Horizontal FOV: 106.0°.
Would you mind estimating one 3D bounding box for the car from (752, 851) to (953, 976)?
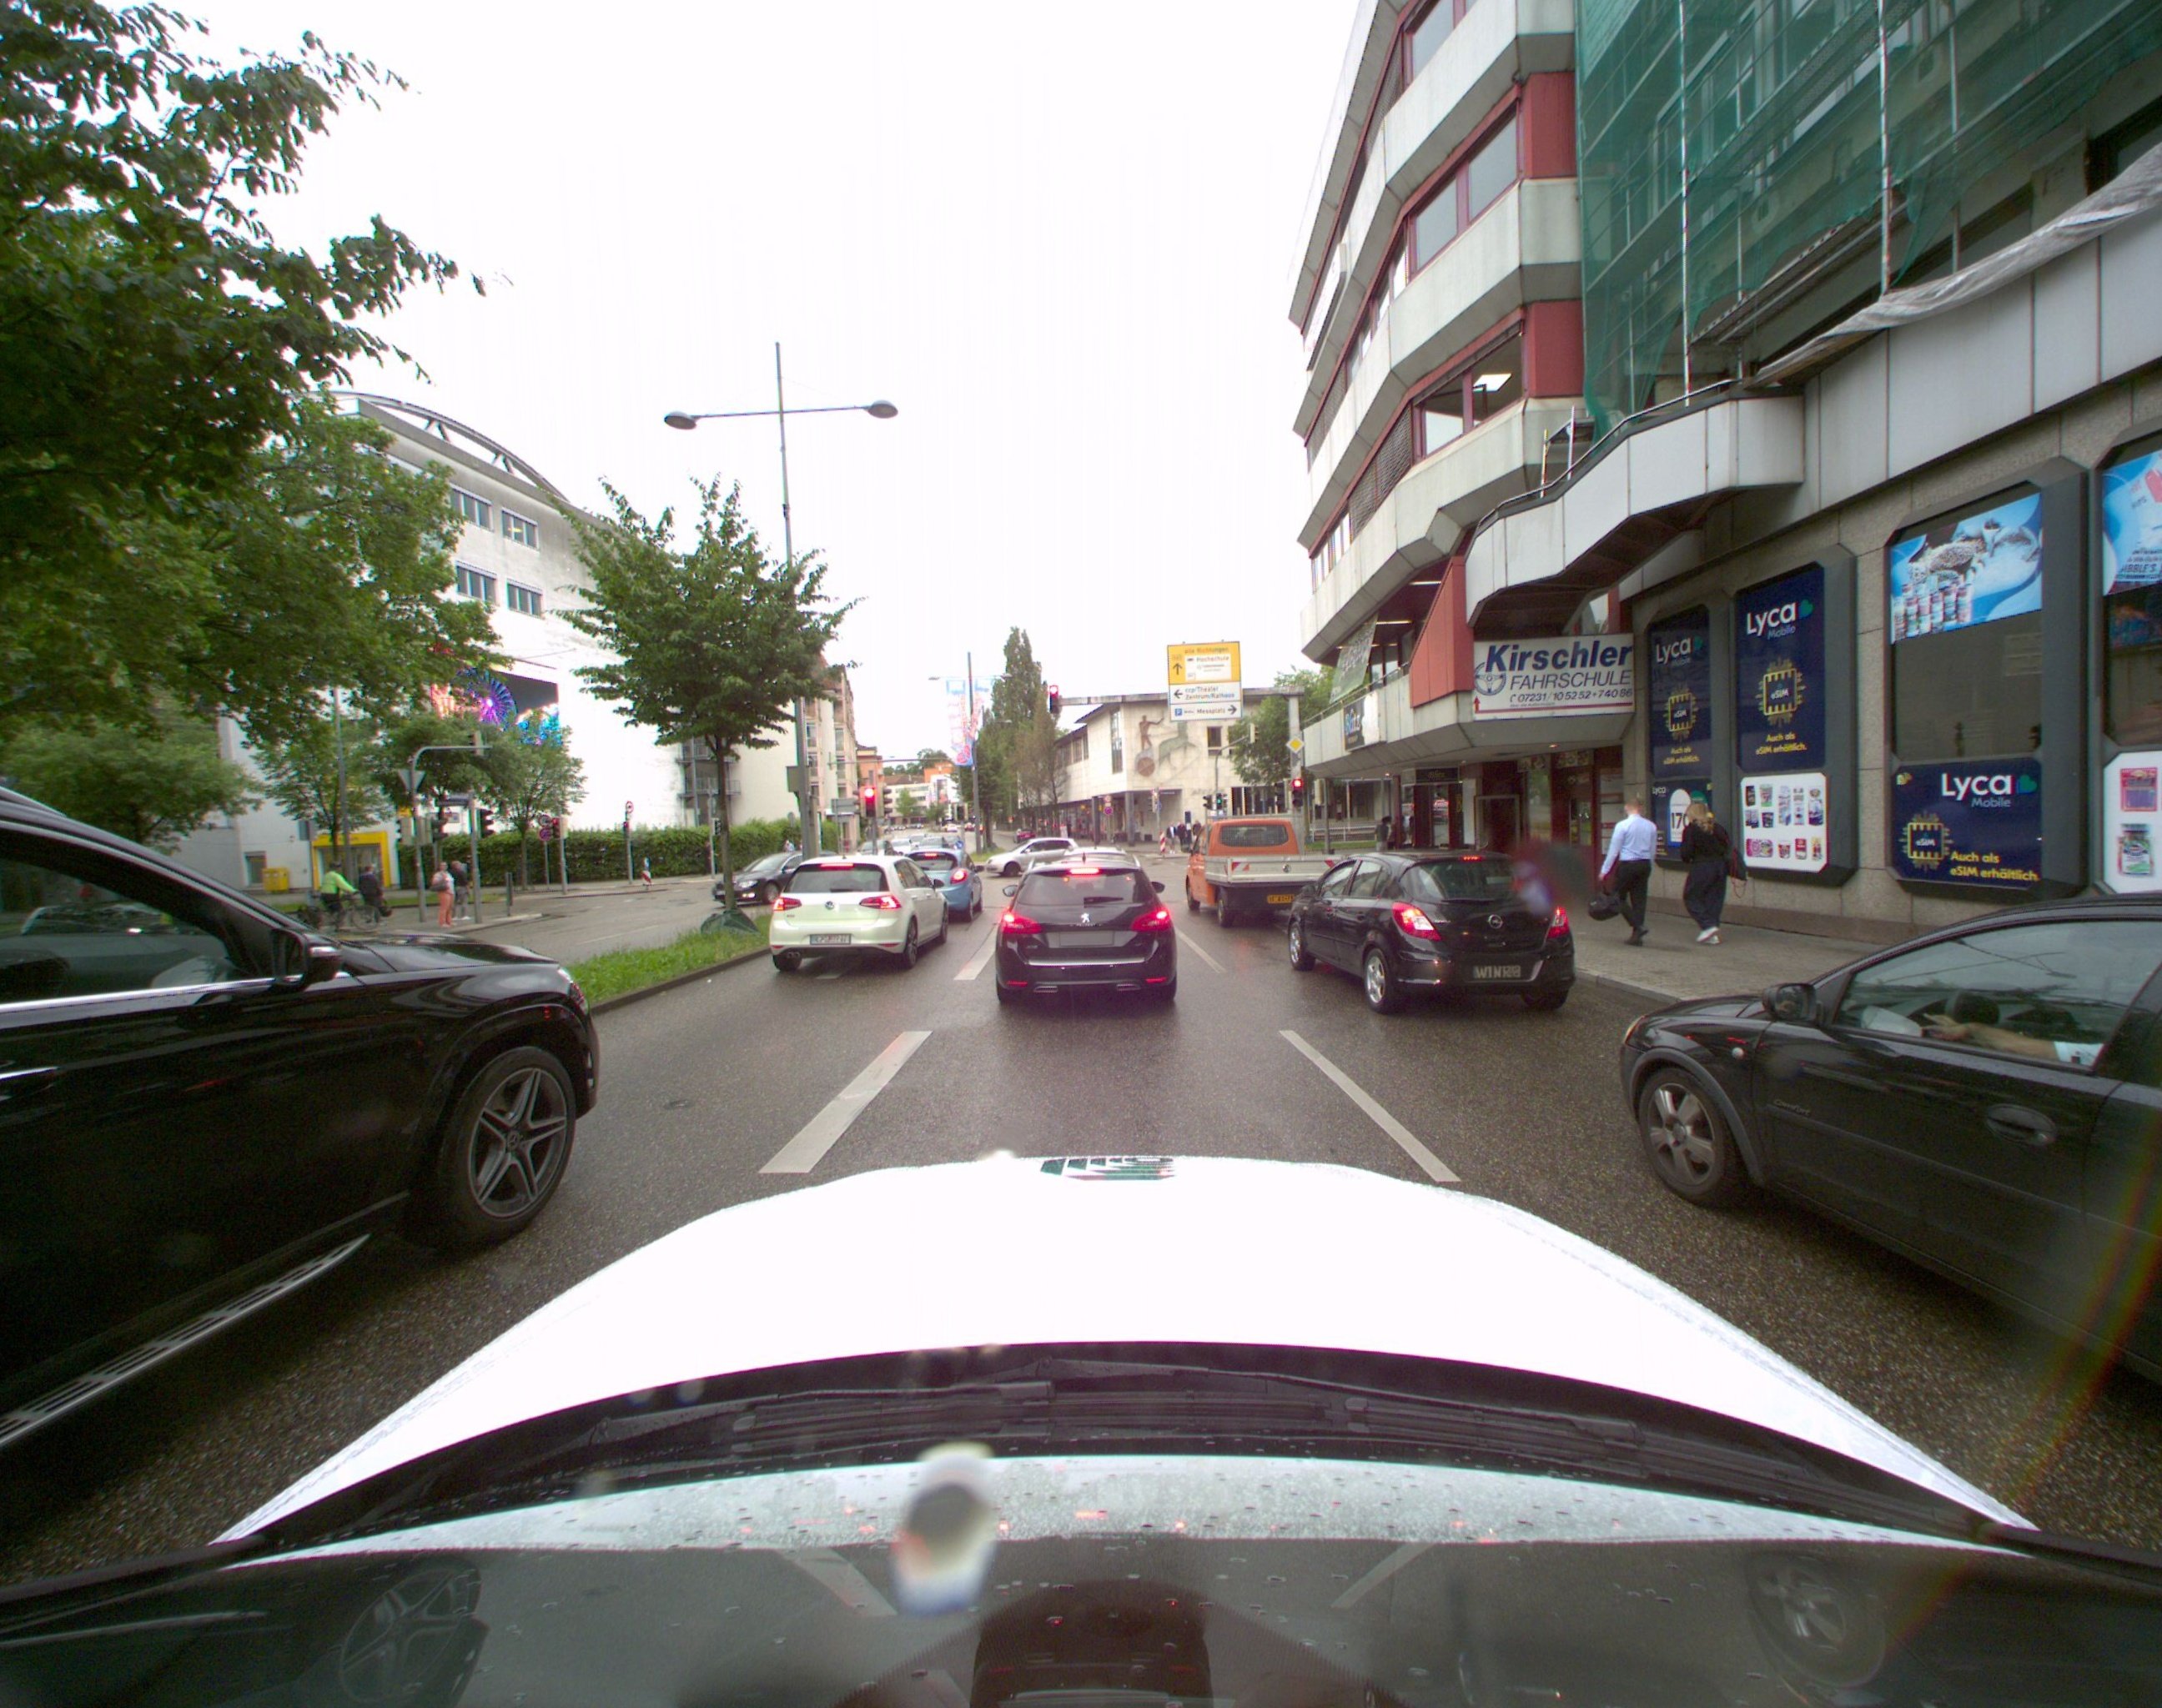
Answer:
[{"bbox_3d":[-3.026,0.707,11.649,1.772,1.429,3.841,-1,1,0],"label":"car"}]

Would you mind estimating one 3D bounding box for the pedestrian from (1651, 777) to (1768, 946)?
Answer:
[{"bbox_3d":[7.684,0.092,9.987,0.733,1.934,0.640,-5,-1,1],"label":"pedestrian"}]

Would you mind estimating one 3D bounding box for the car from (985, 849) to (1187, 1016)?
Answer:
[{"bbox_3d":[0.050,0.678,9.121,1.772,1.429,3.842,-1,1,0],"label":"car"}]

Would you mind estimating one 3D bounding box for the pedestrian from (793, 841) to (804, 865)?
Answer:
[{"bbox_3d":[-18.457,-0.067,53.200,0.579,1.599,0.526,-1,-1,-5],"label":"pedestrian"}]

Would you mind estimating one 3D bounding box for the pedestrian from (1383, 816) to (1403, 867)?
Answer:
[{"bbox_3d":[10.154,-0.403,26.507,0.395,1.640,0.504,-3,-1,2],"label":"pedestrian"}]

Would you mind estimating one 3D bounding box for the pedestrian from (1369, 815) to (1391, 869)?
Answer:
[{"bbox_3d":[9.628,-0.376,26.230,0.424,1.682,0.450,-3,-1,0],"label":"pedestrian"}]

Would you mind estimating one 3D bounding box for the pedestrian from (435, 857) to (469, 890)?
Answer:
[{"bbox_3d":[-30.320,0.941,39.263,1.059,1.578,0.683,-1,-1,-3],"label":"pedestrian"}]

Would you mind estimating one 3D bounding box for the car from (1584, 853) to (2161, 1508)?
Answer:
[{"bbox_3d":[3.256,0.745,2.290,1.600,1.429,3.626,-1,1,3],"label":"car"}]

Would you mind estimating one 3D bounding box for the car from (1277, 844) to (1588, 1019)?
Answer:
[{"bbox_3d":[3.393,0.621,8.697,1.611,1.429,3.840,-1,1,-1],"label":"car"}]

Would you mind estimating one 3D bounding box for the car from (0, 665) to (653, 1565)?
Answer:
[{"bbox_3d":[-3.206,0.551,1.673,1.905,1.870,5.073,-1,-1,1],"label":"car"}]

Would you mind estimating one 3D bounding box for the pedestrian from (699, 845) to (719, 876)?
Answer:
[{"bbox_3d":[-20.050,0.332,43.937,0.632,1.643,0.737,-1,-1,20],"label":"pedestrian"}]

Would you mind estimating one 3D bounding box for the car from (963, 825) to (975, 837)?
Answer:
[{"bbox_3d":[-20.428,-4.207,147.989,1.709,1.936,3.979,0,-1,-15],"label":"car"}]

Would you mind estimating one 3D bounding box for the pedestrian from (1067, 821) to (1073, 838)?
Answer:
[{"bbox_3d":[-1.129,-2.546,84.444,0.469,1.748,0.537,0,-1,-19],"label":"pedestrian"}]

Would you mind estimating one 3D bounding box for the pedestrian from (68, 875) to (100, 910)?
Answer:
[{"bbox_3d":[-48.463,1.863,39.587,0.633,1.643,0.735,-1,-1,8],"label":"pedestrian"}]

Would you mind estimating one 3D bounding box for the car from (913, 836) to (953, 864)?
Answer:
[{"bbox_3d":[-8.713,-0.208,48.287,1.739,1.579,3.997,-1,-1,-1],"label":"car"}]

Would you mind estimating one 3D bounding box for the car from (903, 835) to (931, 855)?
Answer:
[{"bbox_3d":[-12.383,-0.692,61.613,1.630,1.486,3.604,-1,1,-4],"label":"car"}]

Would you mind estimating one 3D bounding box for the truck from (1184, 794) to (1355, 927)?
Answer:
[{"bbox_3d":[3.430,0.046,15.951,2.170,2.172,5.020,-1,1,0],"label":"truck"}]

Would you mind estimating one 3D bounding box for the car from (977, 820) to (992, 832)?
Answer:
[{"bbox_3d":[-14.509,-4.208,122.322,1.726,1.490,4.712,0,-1,-12],"label":"car"}]

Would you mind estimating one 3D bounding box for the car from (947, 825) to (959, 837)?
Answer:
[{"bbox_3d":[-23.022,-4.167,146.925,1.709,1.882,3.979,0,-1,-15],"label":"car"}]

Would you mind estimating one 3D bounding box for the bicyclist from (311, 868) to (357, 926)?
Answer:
[{"bbox_3d":[-20.487,1.157,22.336,0.629,1.530,0.609,-3,-1,1],"label":"bicyclist"}]

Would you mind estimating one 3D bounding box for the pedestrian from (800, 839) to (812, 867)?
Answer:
[{"bbox_3d":[-17.597,-0.049,52.136,0.538,1.748,0.564,-1,-1,-3],"label":"pedestrian"}]

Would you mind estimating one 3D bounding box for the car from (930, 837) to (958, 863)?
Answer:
[{"bbox_3d":[-9.341,-0.261,55.670,1.743,1.640,3.988,-1,-1,-9],"label":"car"}]

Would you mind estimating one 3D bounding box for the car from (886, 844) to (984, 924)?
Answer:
[{"bbox_3d":[-3.057,0.557,17.660,1.629,1.486,3.606,-1,1,-3],"label":"car"}]

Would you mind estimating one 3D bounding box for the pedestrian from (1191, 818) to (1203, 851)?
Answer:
[{"bbox_3d":[6.805,-1.117,47.797,0.633,1.897,0.735,-1,-1,8],"label":"pedestrian"}]

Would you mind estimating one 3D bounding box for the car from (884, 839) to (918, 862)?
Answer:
[{"bbox_3d":[-12.020,-0.265,54.535,1.630,1.486,3.604,-1,1,-4],"label":"car"}]

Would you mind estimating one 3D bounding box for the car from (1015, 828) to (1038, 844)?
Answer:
[{"bbox_3d":[-5.567,-1.836,82.696,1.787,1.454,4.494,-4,3,-9],"label":"car"}]

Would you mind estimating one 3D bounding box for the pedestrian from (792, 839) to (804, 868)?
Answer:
[{"bbox_3d":[-17.545,-0.030,50.519,0.538,1.748,0.745,-1,-1,-7],"label":"pedestrian"}]

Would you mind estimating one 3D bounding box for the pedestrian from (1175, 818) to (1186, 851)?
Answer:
[{"bbox_3d":[5.918,-1.137,48.326,0.633,1.897,0.735,-1,-1,8],"label":"pedestrian"}]

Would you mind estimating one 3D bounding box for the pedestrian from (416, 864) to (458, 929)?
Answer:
[{"bbox_3d":[-17.096,1.119,21.633,0.555,1.661,0.580,-2,2,2],"label":"pedestrian"}]

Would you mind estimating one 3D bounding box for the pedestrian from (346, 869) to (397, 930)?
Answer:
[{"bbox_3d":[-21.088,1.334,24.207,0.917,1.784,0.712,-1,-1,13],"label":"pedestrian"}]

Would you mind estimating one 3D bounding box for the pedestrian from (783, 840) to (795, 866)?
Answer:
[{"bbox_3d":[-18.655,-0.055,52.075,0.579,1.599,0.526,-1,-1,-5],"label":"pedestrian"}]

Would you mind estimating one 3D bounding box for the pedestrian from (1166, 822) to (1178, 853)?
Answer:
[{"bbox_3d":[5.207,-0.932,46.660,0.633,1.758,0.735,-1,-1,8],"label":"pedestrian"}]

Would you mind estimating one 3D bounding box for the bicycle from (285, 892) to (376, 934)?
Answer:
[{"bbox_3d":[-20.471,1.594,22.271,0.613,1.000,1.941,-3,-1,2],"label":"bicycle"}]

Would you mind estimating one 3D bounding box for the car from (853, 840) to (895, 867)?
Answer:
[{"bbox_3d":[-11.986,-0.079,47.382,1.569,1.486,3.608,-1,1,-1],"label":"car"}]

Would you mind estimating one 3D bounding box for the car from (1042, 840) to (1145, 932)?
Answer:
[{"bbox_3d":[0.260,0.506,15.433,1.690,1.486,3.795,-1,1,2],"label":"car"}]

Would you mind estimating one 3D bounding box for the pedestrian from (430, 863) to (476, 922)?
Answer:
[{"bbox_3d":[-18.403,1.111,23.878,0.750,1.661,0.628,-2,2,1],"label":"pedestrian"}]

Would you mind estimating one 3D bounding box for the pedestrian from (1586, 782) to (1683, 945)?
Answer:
[{"bbox_3d":[6.812,0.117,10.052,0.733,1.935,0.640,-1,-1,1],"label":"pedestrian"}]

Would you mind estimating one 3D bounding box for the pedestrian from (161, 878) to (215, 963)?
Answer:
[{"bbox_3d":[-18.296,1.349,16.689,0.552,1.661,0.583,-1,2,33],"label":"pedestrian"}]

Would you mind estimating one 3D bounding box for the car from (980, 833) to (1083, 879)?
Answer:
[{"bbox_3d":[-1.985,0.082,32.464,3.753,1.468,1.627,-4,-2,-20],"label":"car"}]

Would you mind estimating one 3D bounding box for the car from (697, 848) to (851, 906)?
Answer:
[{"bbox_3d":[-9.093,0.621,24.629,1.619,1.486,4.762,0,1,20],"label":"car"}]
